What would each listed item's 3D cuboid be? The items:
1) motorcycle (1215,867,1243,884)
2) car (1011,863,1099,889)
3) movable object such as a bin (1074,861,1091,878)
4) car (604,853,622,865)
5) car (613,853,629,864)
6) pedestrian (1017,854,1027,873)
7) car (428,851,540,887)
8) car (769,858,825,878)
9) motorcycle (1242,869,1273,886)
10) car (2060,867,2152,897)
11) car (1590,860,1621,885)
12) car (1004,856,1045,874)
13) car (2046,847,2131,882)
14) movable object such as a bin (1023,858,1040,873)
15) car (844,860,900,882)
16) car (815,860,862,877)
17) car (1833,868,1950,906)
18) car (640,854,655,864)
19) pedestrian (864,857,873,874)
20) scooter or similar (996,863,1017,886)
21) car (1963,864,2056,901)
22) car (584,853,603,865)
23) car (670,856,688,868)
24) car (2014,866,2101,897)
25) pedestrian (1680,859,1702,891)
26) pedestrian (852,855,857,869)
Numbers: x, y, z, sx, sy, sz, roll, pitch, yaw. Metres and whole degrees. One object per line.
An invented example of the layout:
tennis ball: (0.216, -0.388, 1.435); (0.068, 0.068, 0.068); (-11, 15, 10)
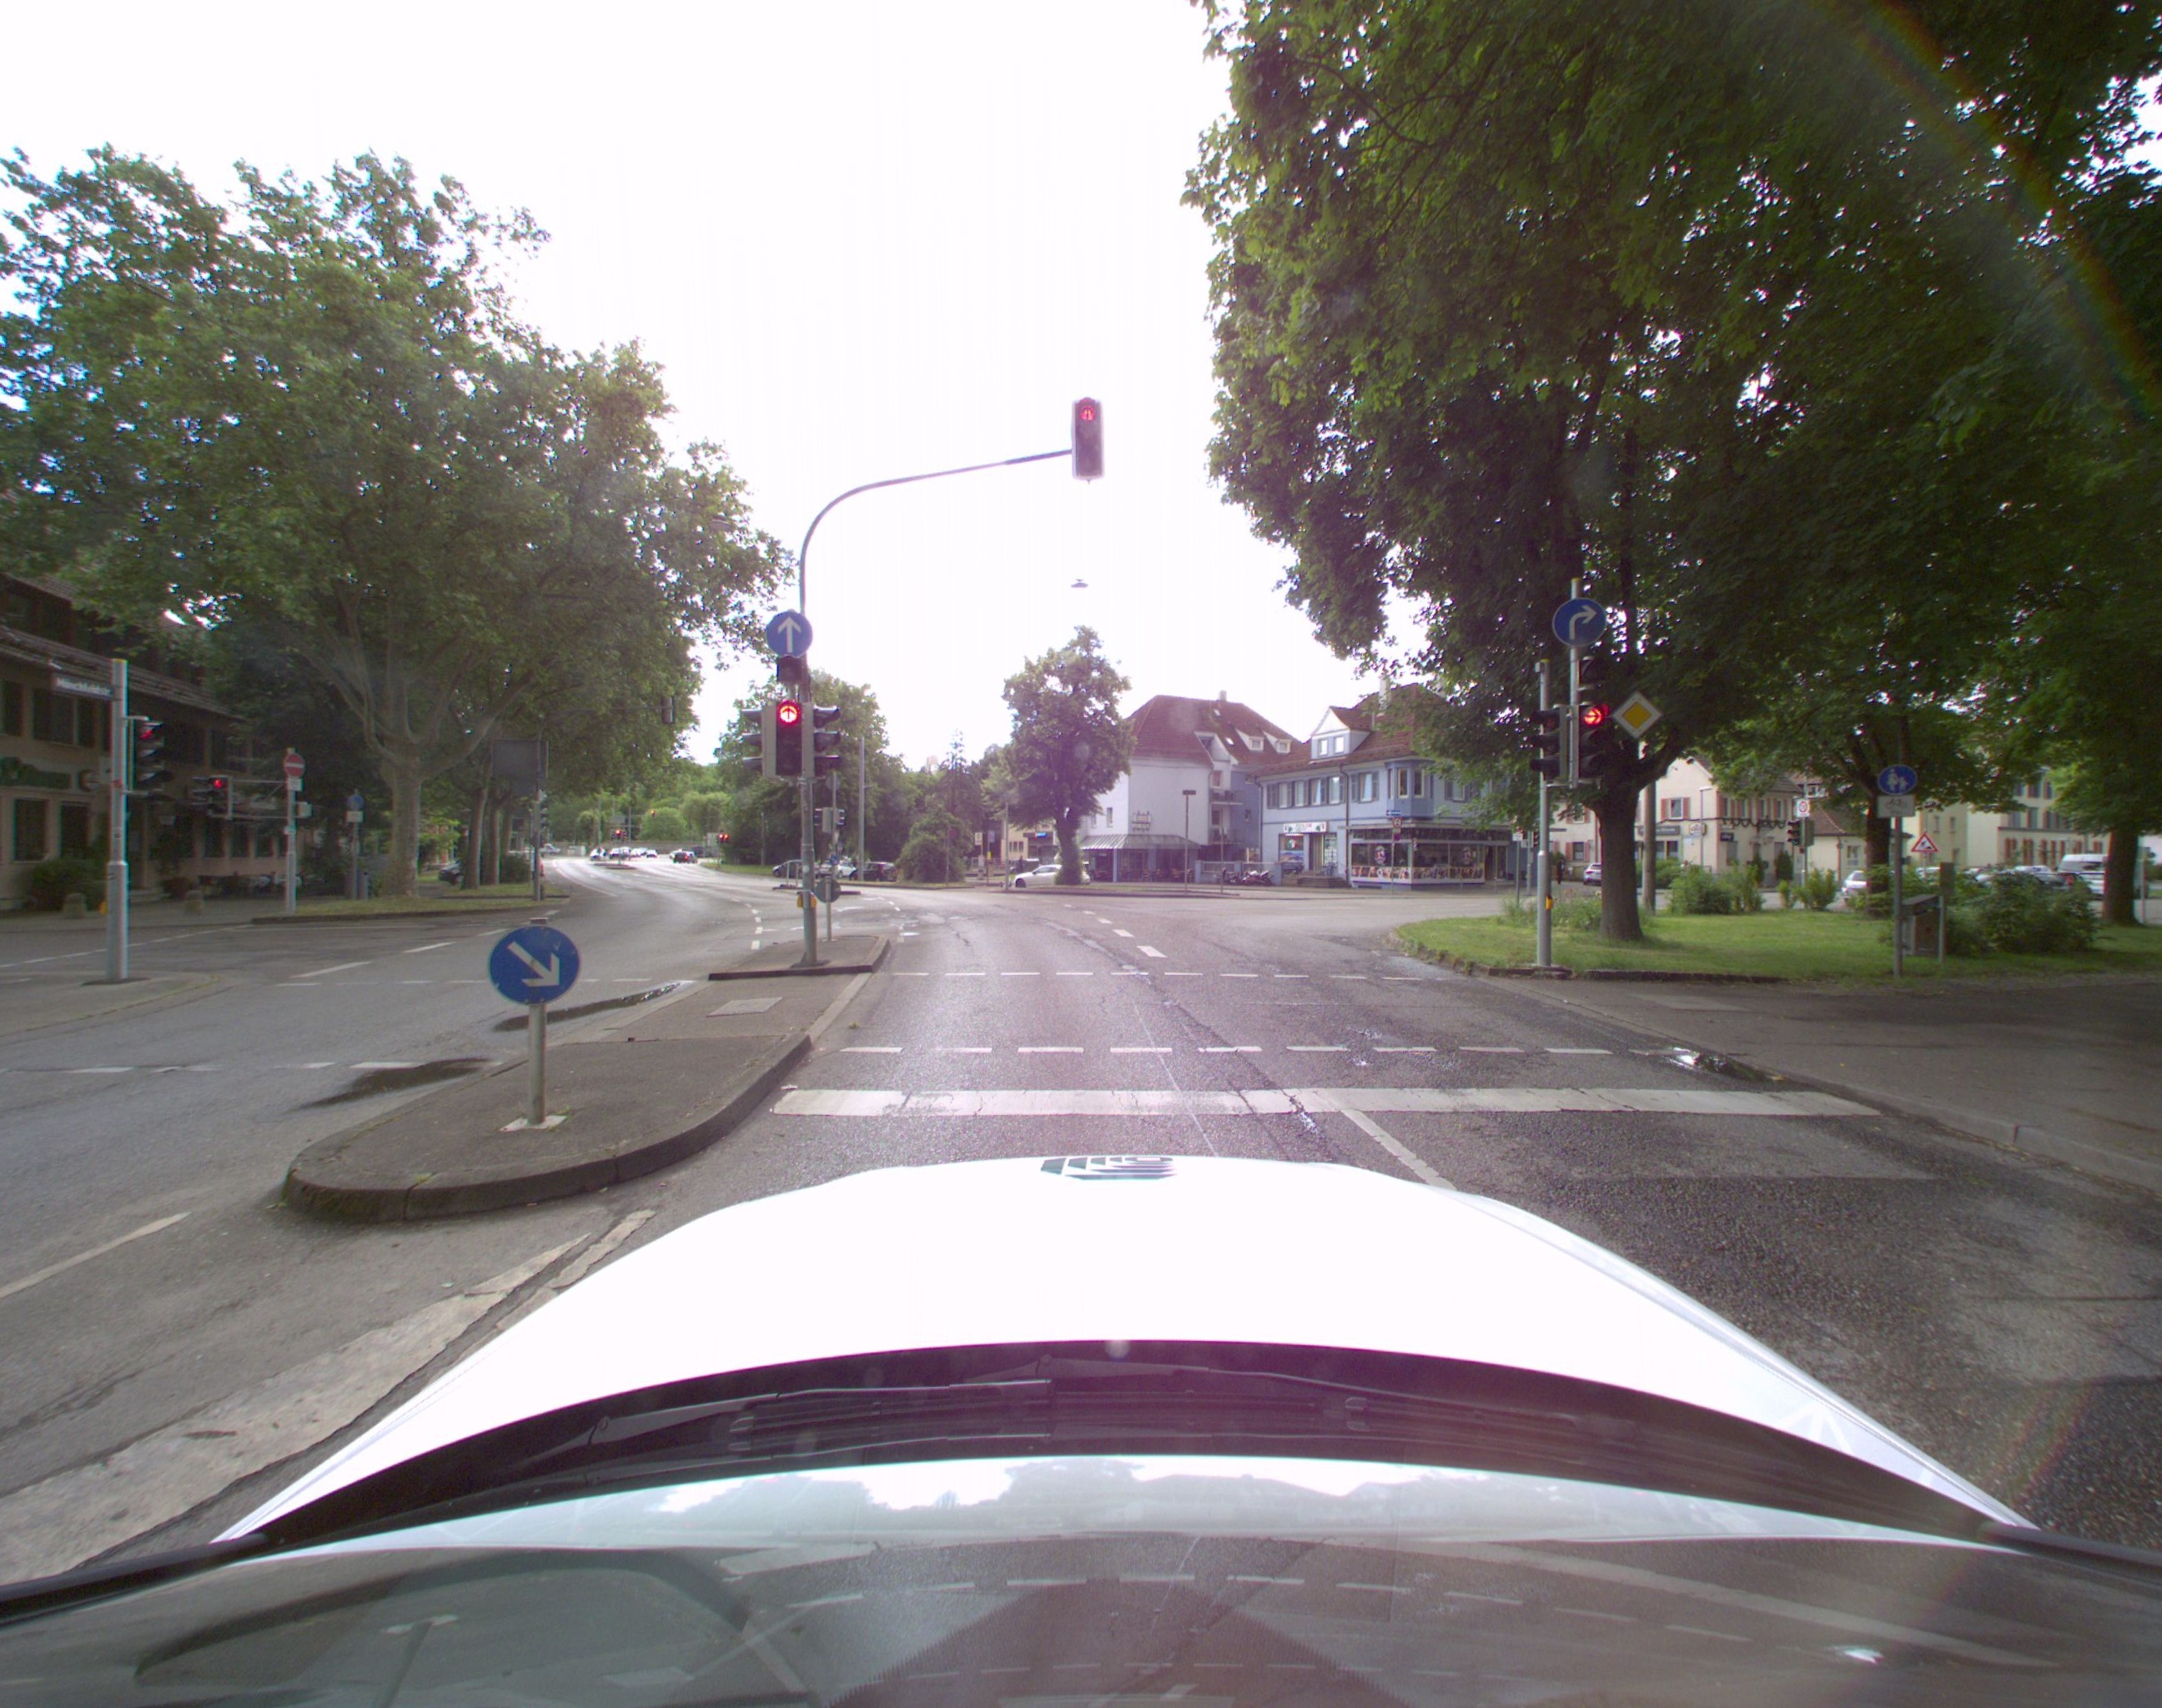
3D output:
motorcycle: (9.068, 1.311, 49.998); (1.703, 1.031, 0.492); (-1, -1, 45)
car: (-1.480, 1.209, 45.948); (4.726, 1.386, 2.013); (-1, -1, 36)
movable object such as a bin: (0.120, 1.346, 70.657); (1.218, 1.395, 1.153); (0, -1, -20)
car: (-73.708, 0.763, 128.294); (1.804, 1.586, 4.381); (-2, 2, -23)
car: (-77.261, 0.782, 136.691); (1.920, 1.763, 4.714); (0, 1, -24)
pedestrian: (-5.432, 0.892, 74.805); (0.691, 1.729, 0.605); (0, -1, -30)
car: (-36.808, 0.876, 50.333); (2.058, 1.931, 5.276); (0, 2, 42)
car: (-22.650, 1.105, 65.019); (4.063, 1.429, 1.743); (2, 0, 24)
motorcycle: (10.457, 1.370, 48.221); (1.800, 0.985, 0.525); (-1, -1, 45)
car: (52.721, 1.402, 41.891); (4.407, 1.456, 1.910); (0, -1, -24)
car: (32.484, 1.116, 50.495); (1.551, 1.462, 3.461); (0, 0, 32)
car: (-5.280, 0.979, 76.057); (3.428, 1.630, 1.612); (0, -1, -23)
car: (71.204, 0.745, 57.535); (5.966, 2.392, 2.318); (0, -1, -24)
movable object such as a bin: (-4.507, 1.074, 74.177); (1.223, 1.345, 0.986); (0, -1, -30)
car: (-13.914, 1.100, 54.126); (3.450, 1.404, 1.583); (1, 0, 30)
car: (-20.048, 1.184, 67.559); (1.746, 1.380, 4.278); (1, 0, 14)
car: (32.942, 1.290, 33.085); (4.552, 1.456, 1.885); (0, -1, -24)
car: (-79.742, 0.903, 149.724); (2.002, 1.655, 4.394); (0, 1, -22)
pedestrian: (-19.767, 1.062, 75.755); (0.687, 1.551, 0.736); (1, 0, -30)
scooter or similar: (-3.920, 1.098, 42.953); (0.407, 1.167, 1.370); (0, -3, 28)
car: (42.254, 1.247, 37.063); (4.008, 1.572, 1.857); (0, -1, -27)
car: (-67.495, 0.672, 112.689); (1.771, 1.466, 3.988); (3, -2, -25)
car: (-49.385, 0.967, 99.947); (1.833, 1.509, 4.532); (0, 0, -28)
car: (47.030, 1.296, 39.215); (3.746, 1.390, 1.725); (0, -1, -24)
pedestrian: (32.990, 1.136, 44.068); (0.648, 1.697, 0.750); (1, -1, -27)
pedestrian: (-25.297, 0.889, 91.032); (0.512, 1.531, 0.773); (1, -1, -20)
